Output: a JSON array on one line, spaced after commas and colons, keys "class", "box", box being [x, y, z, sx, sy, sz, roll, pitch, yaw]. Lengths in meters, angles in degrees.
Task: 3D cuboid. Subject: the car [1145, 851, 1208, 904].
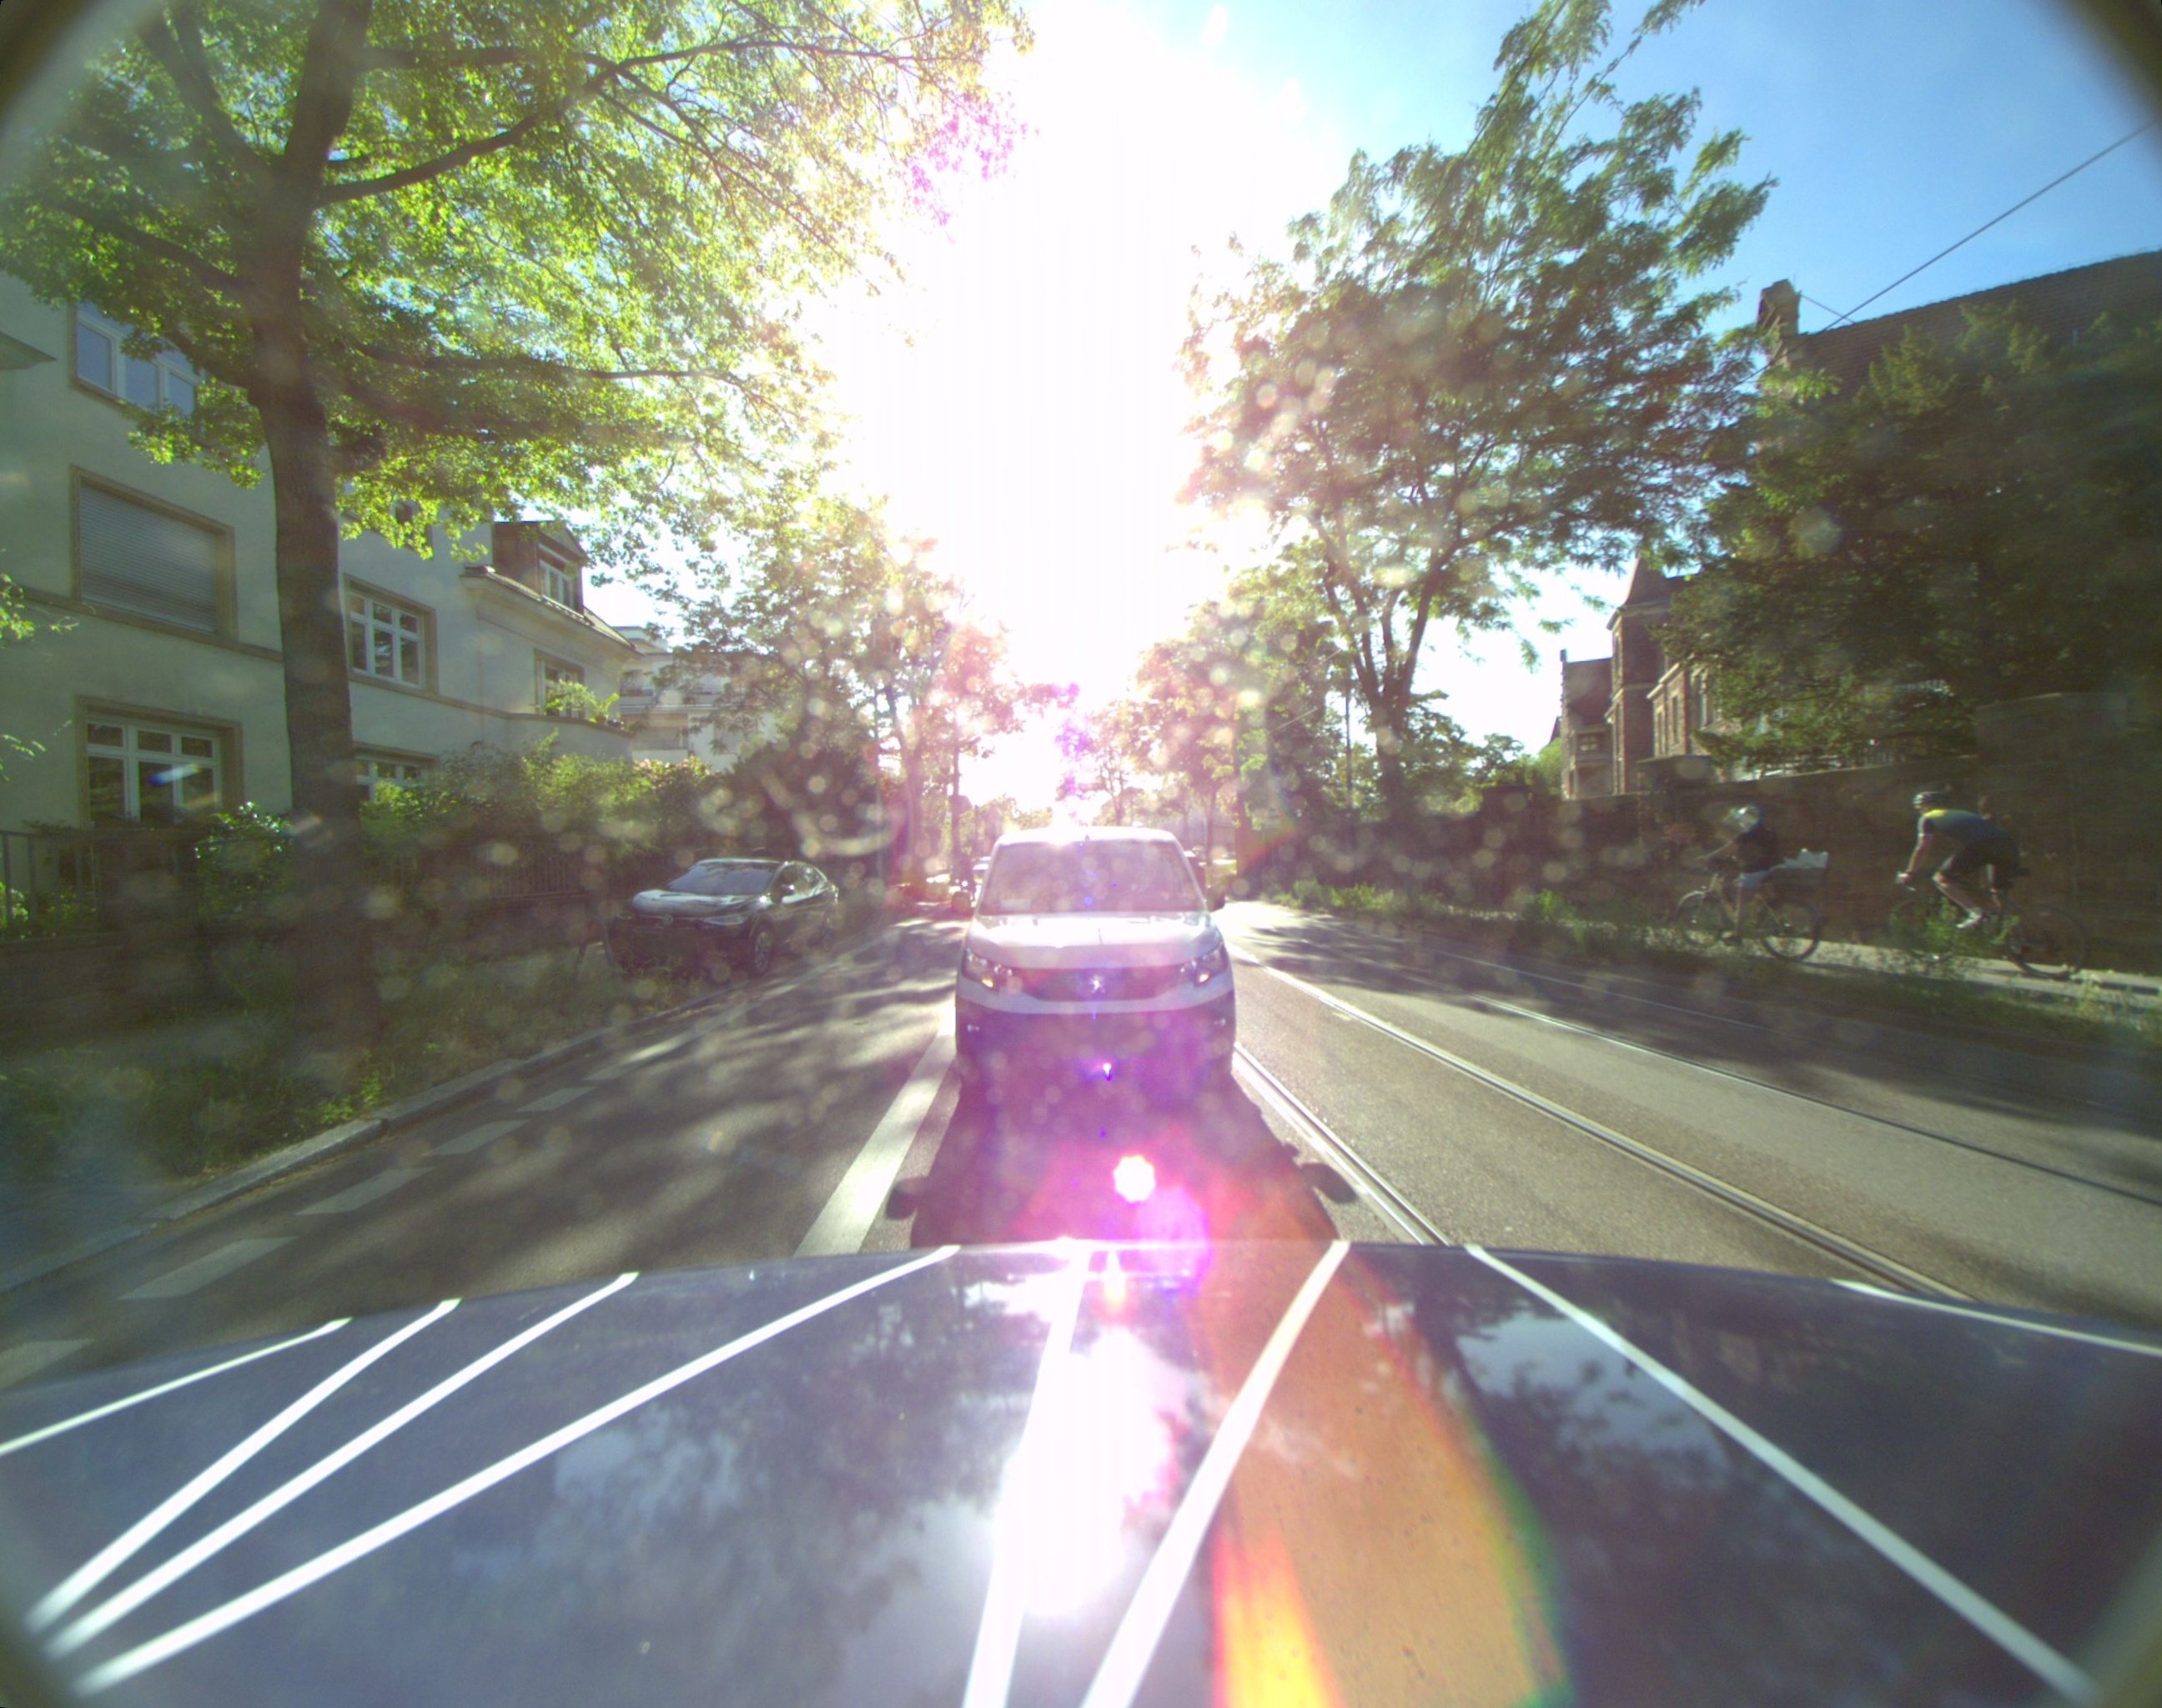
[{"class": "car", "box": [3.162, 0.739, 25.903, 1.822, 1.597, 4.360, -2, 0, 3]}]

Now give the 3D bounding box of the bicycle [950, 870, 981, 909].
[{"class": "bicycle", "box": [-3.616, 1.108, 23.968, 0.644, 1.137, 1.815, -1, 0, 1]}]

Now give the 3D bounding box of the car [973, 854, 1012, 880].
[{"class": "car", "box": [-5.244, 0.745, 45.457, 1.787, 1.443, 4.000, -2, 0, 1]}]

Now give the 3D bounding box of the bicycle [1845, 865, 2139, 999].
[{"class": "bicycle", "box": [9.042, 0.709, 7.695, 0.686, 1.083, 1.854, -1, 3, -1]}]

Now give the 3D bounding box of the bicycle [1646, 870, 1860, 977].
[{"class": "bicycle", "box": [8.009, 0.771, 9.212, 0.686, 1.082, 2.063, -2, 0, -3]}]

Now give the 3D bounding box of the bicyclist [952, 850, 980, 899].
[{"class": "bicyclist", "box": [-3.619, 0.625, 23.942, 0.623, 1.479, 1.115, -2, 0, 1]}]

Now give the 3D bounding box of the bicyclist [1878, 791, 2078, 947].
[{"class": "bicyclist", "box": [9.023, 0.138, 7.705, 0.654, 1.451, 1.152, -2, 1, -1]}]

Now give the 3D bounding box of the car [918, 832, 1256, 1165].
[{"class": "car", "box": [0.052, 0.781, 6.529, 1.793, 1.770, 4.786, -2, 0, 0]}]

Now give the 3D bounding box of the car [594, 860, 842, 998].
[{"class": "car", "box": [-5.130, 0.941, 11.444, 1.743, 1.597, 4.091, 2, 0, 0]}]

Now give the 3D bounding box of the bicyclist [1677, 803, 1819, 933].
[{"class": "bicyclist", "box": [7.997, 0.161, 9.170, 0.655, 1.451, 1.151, -2, 1, -4]}]

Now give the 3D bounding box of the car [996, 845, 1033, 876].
[{"class": "car", "box": [-4.492, 0.422, 51.923, 1.998, 2.002, 4.583, -2, 0, 1]}]
